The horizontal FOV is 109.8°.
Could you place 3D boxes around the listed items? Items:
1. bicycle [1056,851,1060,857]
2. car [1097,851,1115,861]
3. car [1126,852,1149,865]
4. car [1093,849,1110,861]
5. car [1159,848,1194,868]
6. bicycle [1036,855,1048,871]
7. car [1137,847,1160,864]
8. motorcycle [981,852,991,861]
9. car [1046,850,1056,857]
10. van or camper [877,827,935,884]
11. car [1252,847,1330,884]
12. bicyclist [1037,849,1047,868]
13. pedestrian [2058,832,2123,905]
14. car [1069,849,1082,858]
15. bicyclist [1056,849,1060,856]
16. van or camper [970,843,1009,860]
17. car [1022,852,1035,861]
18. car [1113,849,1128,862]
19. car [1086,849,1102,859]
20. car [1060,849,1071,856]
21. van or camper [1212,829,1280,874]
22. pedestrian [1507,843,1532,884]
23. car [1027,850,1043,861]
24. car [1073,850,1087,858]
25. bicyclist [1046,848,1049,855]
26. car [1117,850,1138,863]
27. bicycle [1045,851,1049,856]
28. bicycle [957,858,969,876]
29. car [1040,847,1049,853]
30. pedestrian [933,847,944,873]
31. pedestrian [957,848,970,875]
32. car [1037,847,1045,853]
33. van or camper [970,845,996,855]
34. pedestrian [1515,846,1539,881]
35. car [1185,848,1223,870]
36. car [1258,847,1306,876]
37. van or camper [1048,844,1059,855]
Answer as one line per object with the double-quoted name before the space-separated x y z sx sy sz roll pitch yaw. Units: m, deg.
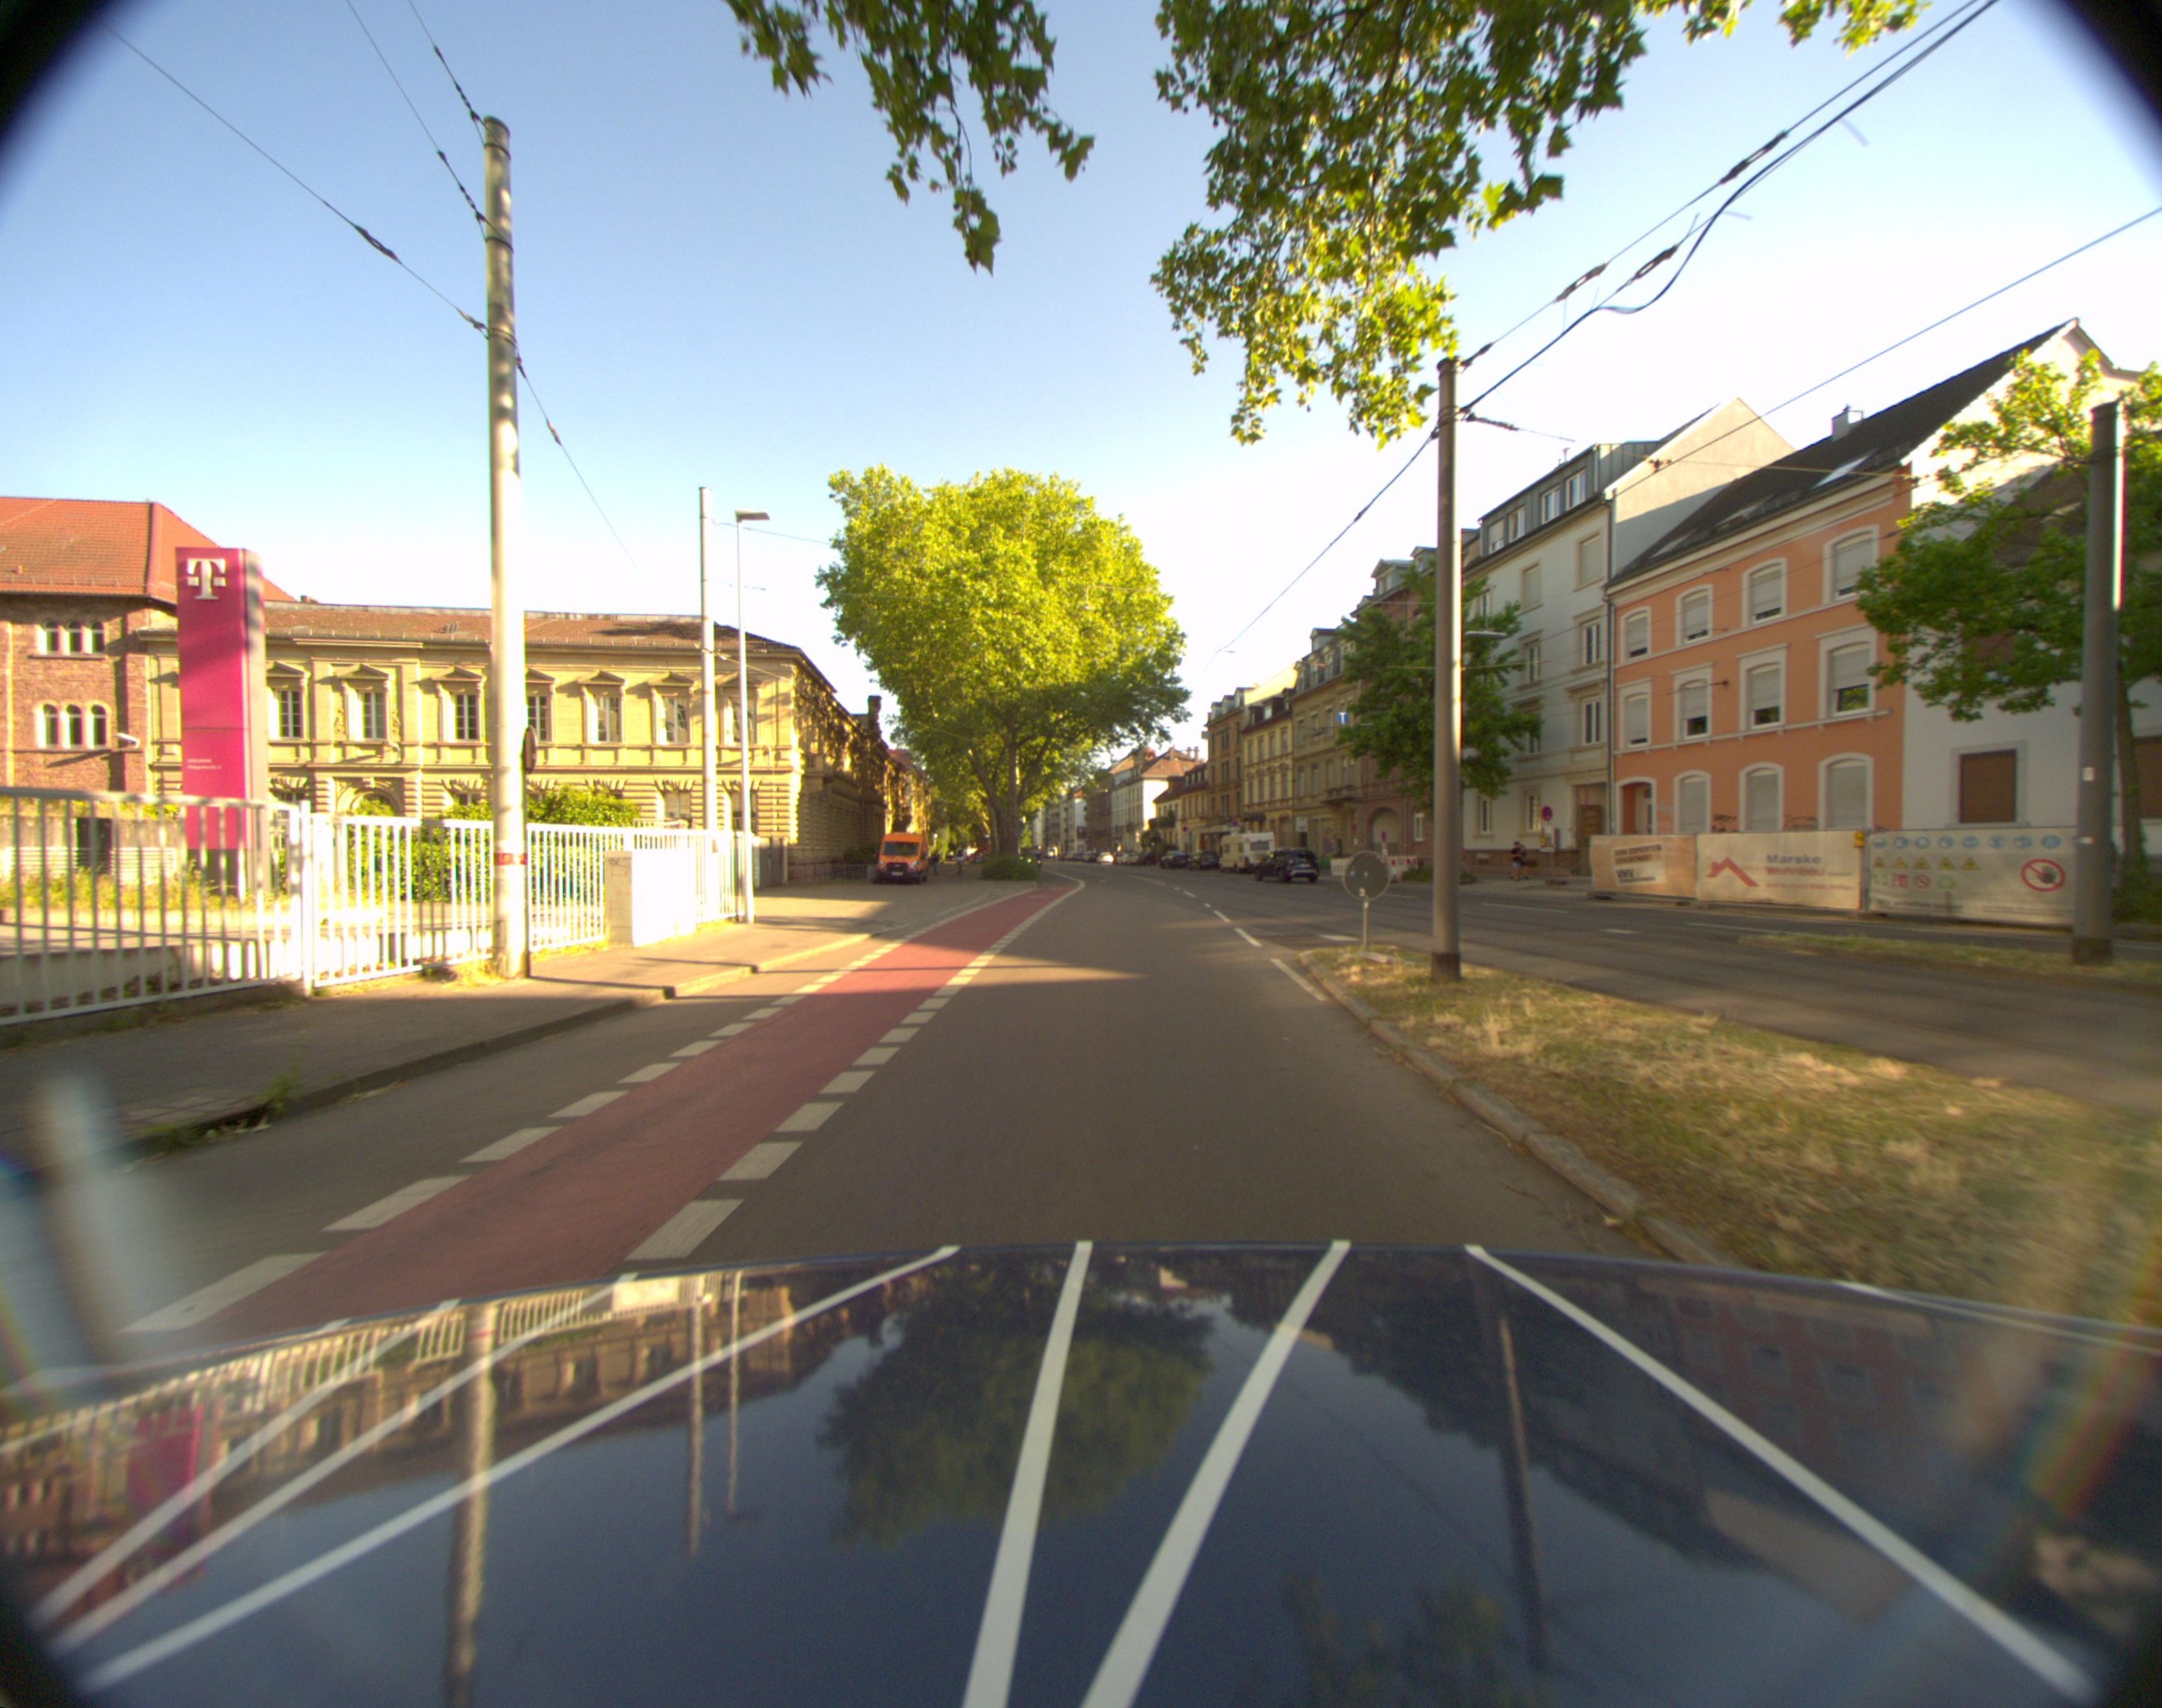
"bicycle" -4.426 0.046 146.162 0.715 1.131 2.119 0 1 -7
"car" 3.618 0.254 109.642 1.870 1.423 4.080 -2 1 -8
"car" 6.570 0.491 88.777 1.669 1.446 4.400 -3 1 -9
"car" 3.035 0.136 114.545 1.799 1.587 4.080 -2 1 -8
"car" 9.075 0.327 72.404 2.000 1.693 4.746 -4 1 -9
"bicycle" -3.016 0.671 58.409 0.715 1.131 2.119 0 1 -7
"car" 7.467 0.147 84.457 1.730 1.736 3.623 -4 1 -7
"motorcycle" -12.202 0.311 97.524 1.274 1.048 0.394 -1 1 -45
"car" -7.226 -0.054 181.336 1.809 1.534 3.915 -2 1 -9
"van or camper" -8.444 0.043 37.091 2.042 2.545 5.769 0 1 -6
"car" 10.113 0.509 36.975 2.000 1.679 4.306 0 1 -10
"bicyclist" -3.007 0.350 58.361 0.715 1.435 0.953 0 1 -7
"pedestrian" 21.836 0.304 16.444 0.596 1.561 0.639 0 1 -10
"car" -1.000 -0.115 140.129 1.799 1.617 4.080 -2 1 -8
"bicyclist" -4.454 -0.290 146.100 0.715 1.508 0.953 0 1 -7
"van or camper" -14.173 -0.366 117.741 5.932 2.484 2.218 0 3 -10
"car" -8.458 0.411 121.348 1.741 1.365 3.915 -2 1 -9
"car" 5.160 0.194 99.215 1.422 1.502 3.323 -2 1 -5
"car" 2.013 -0.013 120.071 1.799 1.631 4.251 -2 1 -8
"car" -3.246 -0.319 156.047 1.809 1.534 3.915 -2 1 -9
"van or camper" 11.884 -0.210 55.399 2.427 2.930 7.245 -4 1 -7
"pedestrian" 18.129 0.374 31.429 0.569 1.644 0.687 -2 1 -10
"car" -6.464 0.208 106.276 1.741 1.365 3.915 -2 1 -9
"car" -0.210 -0.009 134.659 1.799 1.368 4.080 -2 1 -8
"bicyclist" -7.380 -0.649 166.546 0.714 1.508 0.954 0 1 2
"car" 5.753 0.283 94.135 1.588 1.482 4.466 -2 1 -9
"bicycle" -7.374 -0.150 166.564 0.714 1.131 2.120 0 1 1
"bicycle" -7.243 0.794 46.656 0.677 1.026 1.899 2 1 -10
"car" -9.643 -0.971 201.024 1.809 1.534 3.915 -2 1 -9
"pedestrian" -9.333 0.393 49.789 0.652 1.726 1.007 0 1 -7
"pedestrian" -7.204 0.427 46.511 0.672 1.610 1.101 2 1 -10
"car" -11.094 -1.080 211.220 1.810 1.534 3.915 -2 1 -10
"van or camper" -22.823 -0.951 177.238 6.103 2.417 2.426 0 1 -8
"pedestrian" 18.765 0.390 31.959 0.577 1.453 0.607 -2 1 -9
"car" 10.467 0.393 64.727 1.816 1.696 4.439 -4 1 -9
"car" 12.976 0.451 49.213 1.636 1.696 3.367 -3 1 -11
"van or camper" -6.357 -1.038 175.907 1.946 2.267 4.594 -2 1 -9
